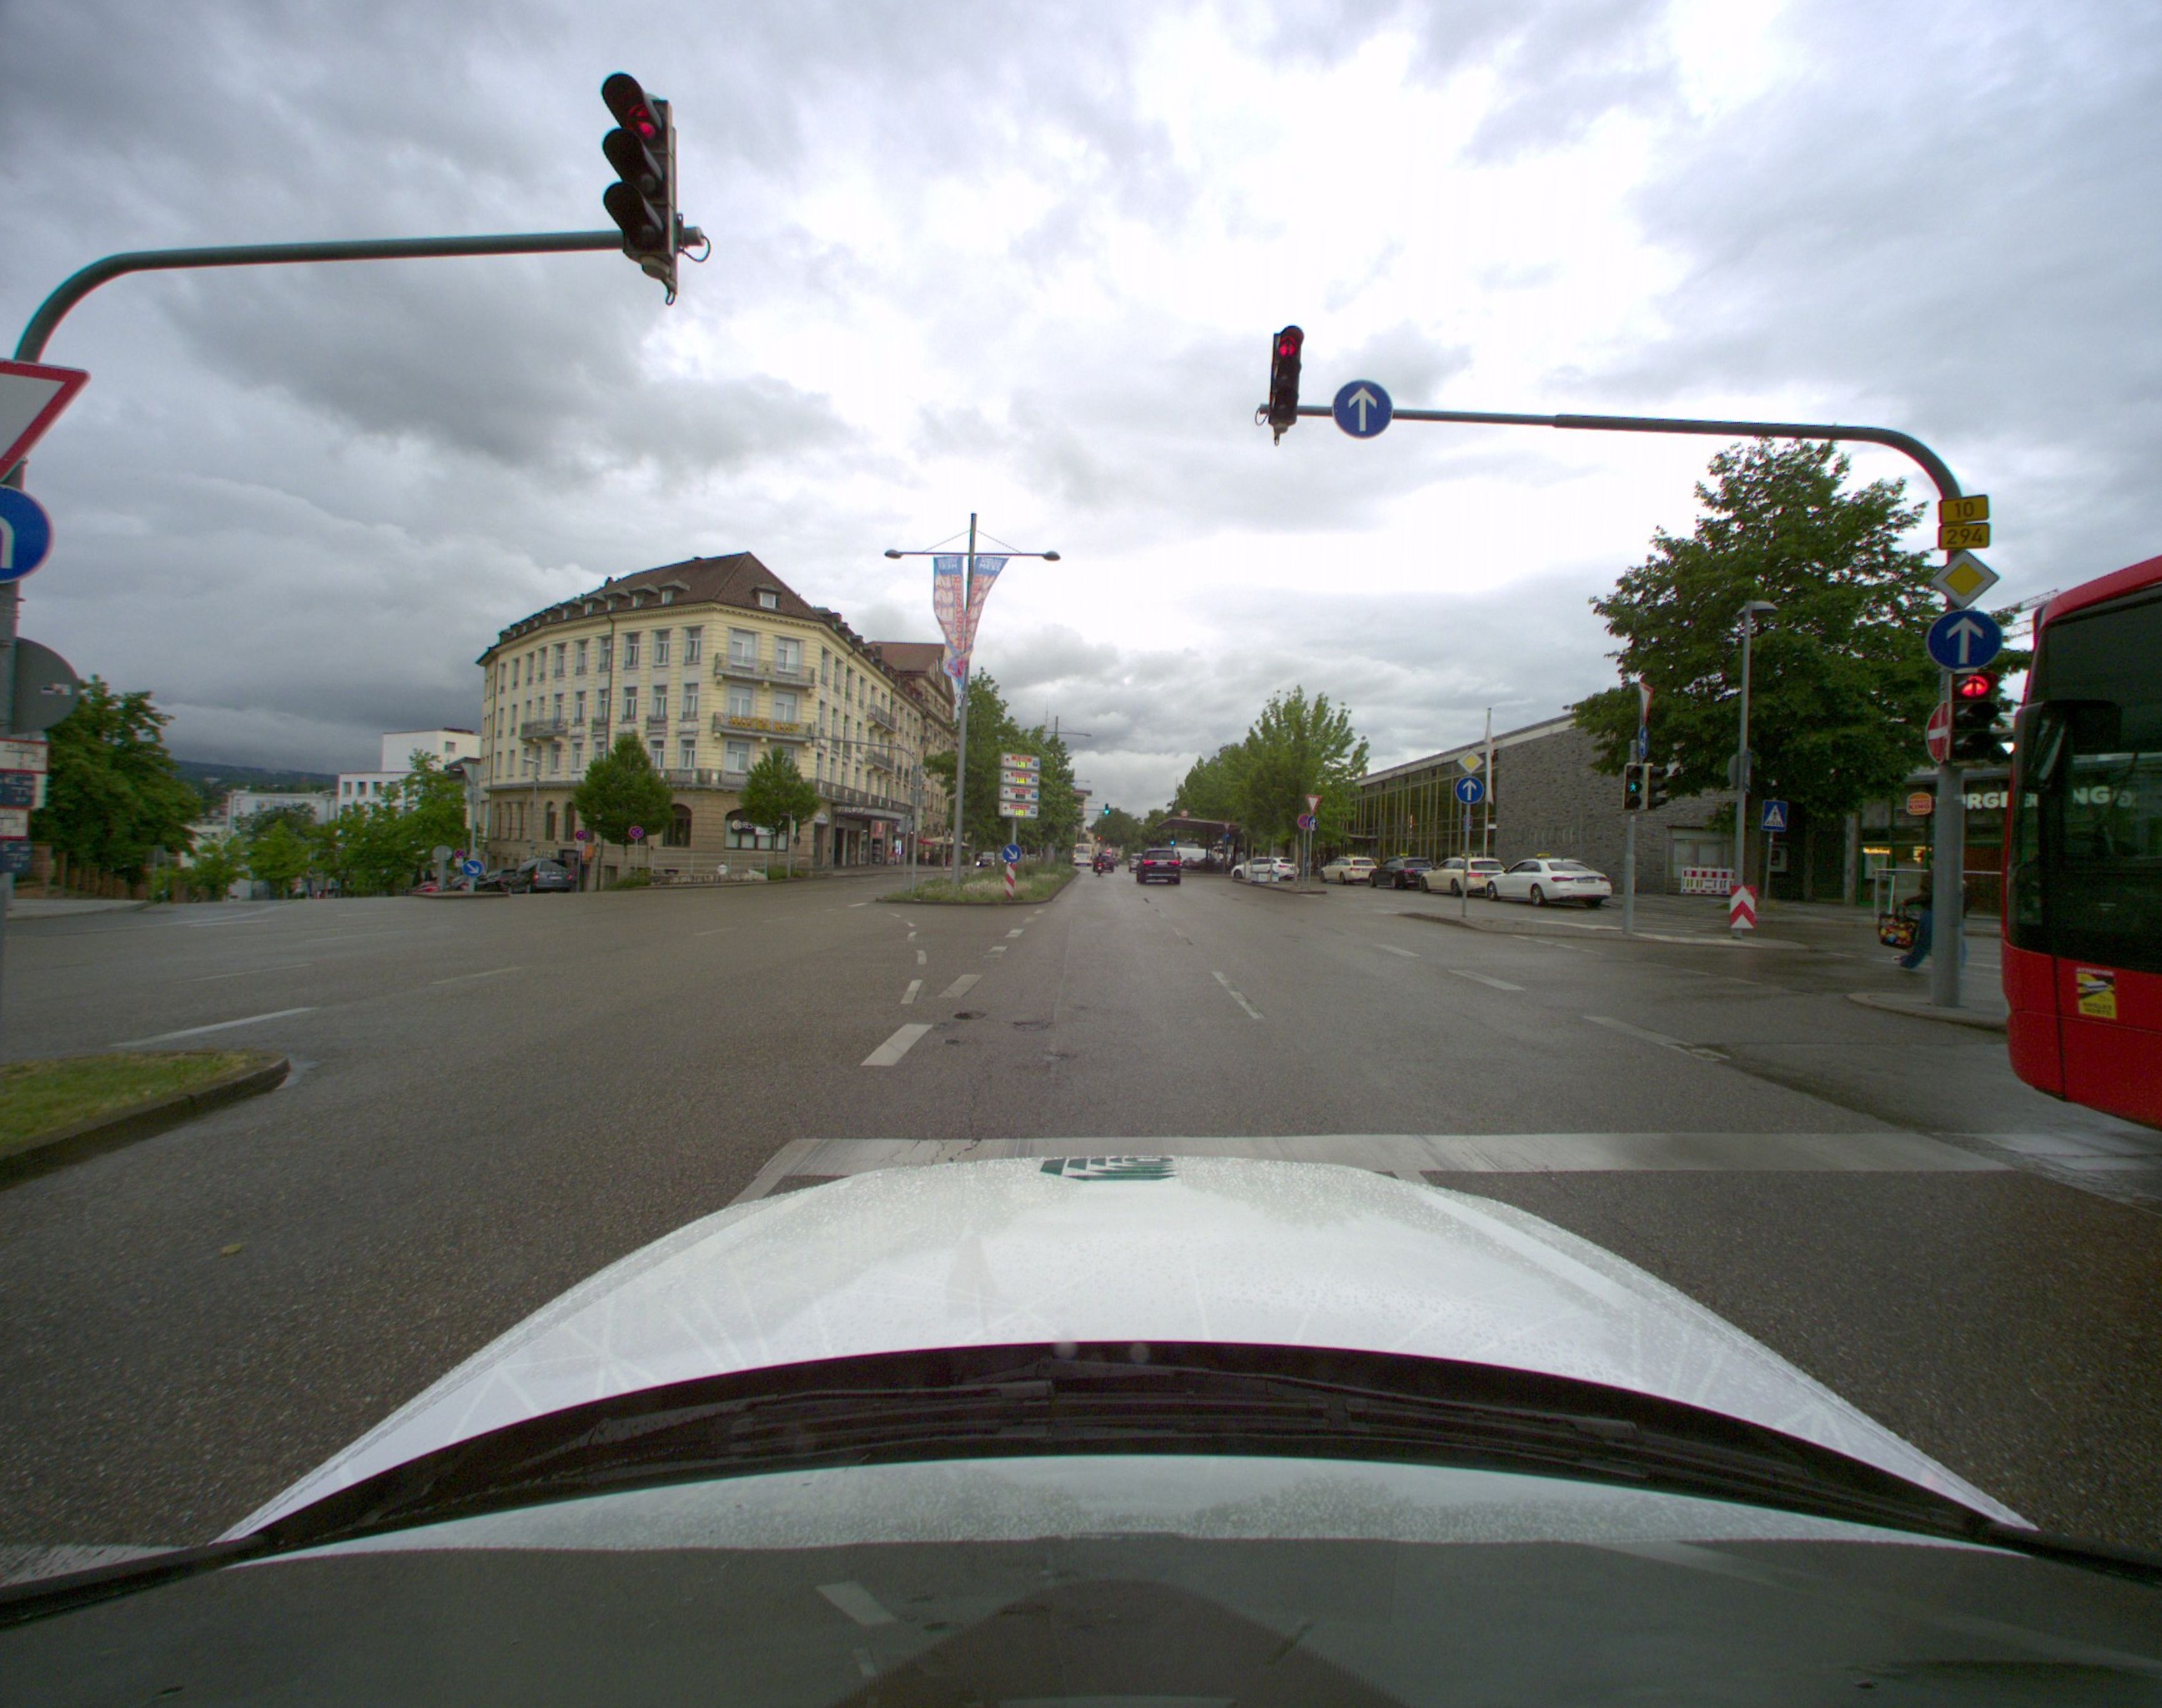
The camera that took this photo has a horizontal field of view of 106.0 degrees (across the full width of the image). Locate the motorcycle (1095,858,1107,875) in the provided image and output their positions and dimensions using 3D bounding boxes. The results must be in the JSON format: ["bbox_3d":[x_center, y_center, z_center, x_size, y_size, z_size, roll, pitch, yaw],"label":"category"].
[{"bbox_3d":[1.332,0.819,54.673,0.763,1.077,2.176,0,0,2],"label":"motorcycle"}]

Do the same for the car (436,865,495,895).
[{"bbox_3d":[-36.312,1.490,48.018,3.864,1.640,1.805,0,0,37],"label":"car"}]

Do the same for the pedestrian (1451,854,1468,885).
[{"bbox_3d":[20.632,0.851,44.394,0.563,1.646,0.715,0,0,-3],"label":"pedestrian"}]

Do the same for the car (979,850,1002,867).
[{"bbox_3d":[-8.409,0.411,75.702,1.766,1.530,4.076,0,0,-1],"label":"car"}]

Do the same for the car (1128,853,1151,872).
[{"bbox_3d":[5.068,0.700,70.625,1.844,1.567,4.001,0,0,2],"label":"car"}]

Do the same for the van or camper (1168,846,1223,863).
[{"bbox_3d":[14.483,0.074,102.802,6.787,2.014,2.366,0,-1,-25],"label":"van or camper"}]

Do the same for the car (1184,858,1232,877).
[{"bbox_3d":[12.820,1.379,82.127,4.348,1.857,1.988,0,0,-18],"label":"car"}]

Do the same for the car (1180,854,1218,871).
[{"bbox_3d":[14.023,0.967,96.487,3.998,2.014,1.988,0,0,-18],"label":"car"}]

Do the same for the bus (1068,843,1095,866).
[{"bbox_3d":[-0.003,0.048,124.164,3.750,3.209,15.517,0,0,-1],"label":"bus"}]

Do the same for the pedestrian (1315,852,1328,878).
[{"bbox_3d":[18.947,0.841,64.231,0.767,2.014,0.828,0,0,0],"label":"pedestrian"}]

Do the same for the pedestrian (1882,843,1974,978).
[{"bbox_3d":[11.040,0.703,10.630,0.716,1.674,0.800,0,0,-44],"label":"pedestrian"}]

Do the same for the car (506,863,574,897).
[{"bbox_3d":[-27.100,1.270,40.757,3.949,1.568,1.812,0,0,41],"label":"car"}]

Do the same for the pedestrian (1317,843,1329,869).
[{"bbox_3d":[21.774,0.180,73.285,0.839,2.411,0.863,0,0,3],"label":"pedestrian"}]

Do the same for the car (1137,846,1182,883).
[{"bbox_3d":[4.006,0.491,42.131,1.986,1.806,4.691,0,0,2],"label":"car"}]

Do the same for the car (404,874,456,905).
[{"bbox_3d":[-41.188,2.207,51.478,3.575,1.812,1.788,0,0,38],"label":"car"}]

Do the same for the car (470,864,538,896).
[{"bbox_3d":[-31.969,1.414,45.097,3.948,1.640,2.013,-1,-1,37],"label":"car"}]

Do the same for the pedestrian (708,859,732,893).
[{"bbox_3d":[-20.052,1.194,45.238,0.860,1.878,1.023,0,0,1],"label":"pedestrian"}]

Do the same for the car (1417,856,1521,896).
[{"bbox_3d":[14.787,0.787,31.363,1.840,1.452,4.666,0,0,0],"label":"car"}]

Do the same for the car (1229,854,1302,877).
[{"bbox_3d":[11.499,0.713,50.943,1.788,1.385,4.318,0,0,-39],"label":"car"}]

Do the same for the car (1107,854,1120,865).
[{"bbox_3d":[4.407,0.725,110.557,1.702,1.474,4.001,0,0,2],"label":"car"}]

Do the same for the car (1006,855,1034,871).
[{"bbox_3d":[-5.580,0.842,75.050,1.716,1.381,4.867,-1,0,6],"label":"car"}]

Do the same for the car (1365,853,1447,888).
[{"bbox_3d":[14.885,0.710,37.589,1.907,1.524,4.741,0,0,0],"label":"car"}]

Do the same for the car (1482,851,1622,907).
[{"bbox_3d":[14.647,0.722,25.644,1.768,1.589,4.615,0,0,0],"label":"car"}]

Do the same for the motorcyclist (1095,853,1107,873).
[{"bbox_3d":[1.331,0.572,54.681,0.761,1.331,0.867,0,0,2],"label":"motorcyclist"}]

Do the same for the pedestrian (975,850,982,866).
[{"bbox_3d":[-11.030,0.395,87.349,0.672,1.701,0.634,0,0,1],"label":"pedestrian"}]

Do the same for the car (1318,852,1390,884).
[{"bbox_3d":[14.682,0.712,44.084,1.990,1.600,4.814,0,0,-5],"label":"car"}]

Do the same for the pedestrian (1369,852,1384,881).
[{"bbox_3d":[17.151,0.727,47.250,0.563,1.710,0.715,0,0,-3],"label":"pedestrian"}]

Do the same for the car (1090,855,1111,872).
[{"bbox_3d":[1.672,0.784,68.634,1.702,1.448,4.001,0,0,2],"label":"car"}]

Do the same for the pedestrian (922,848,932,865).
[{"bbox_3d":[-14.092,0.238,74.528,0.666,1.510,0.513,0,0,-36],"label":"pedestrian"}]
